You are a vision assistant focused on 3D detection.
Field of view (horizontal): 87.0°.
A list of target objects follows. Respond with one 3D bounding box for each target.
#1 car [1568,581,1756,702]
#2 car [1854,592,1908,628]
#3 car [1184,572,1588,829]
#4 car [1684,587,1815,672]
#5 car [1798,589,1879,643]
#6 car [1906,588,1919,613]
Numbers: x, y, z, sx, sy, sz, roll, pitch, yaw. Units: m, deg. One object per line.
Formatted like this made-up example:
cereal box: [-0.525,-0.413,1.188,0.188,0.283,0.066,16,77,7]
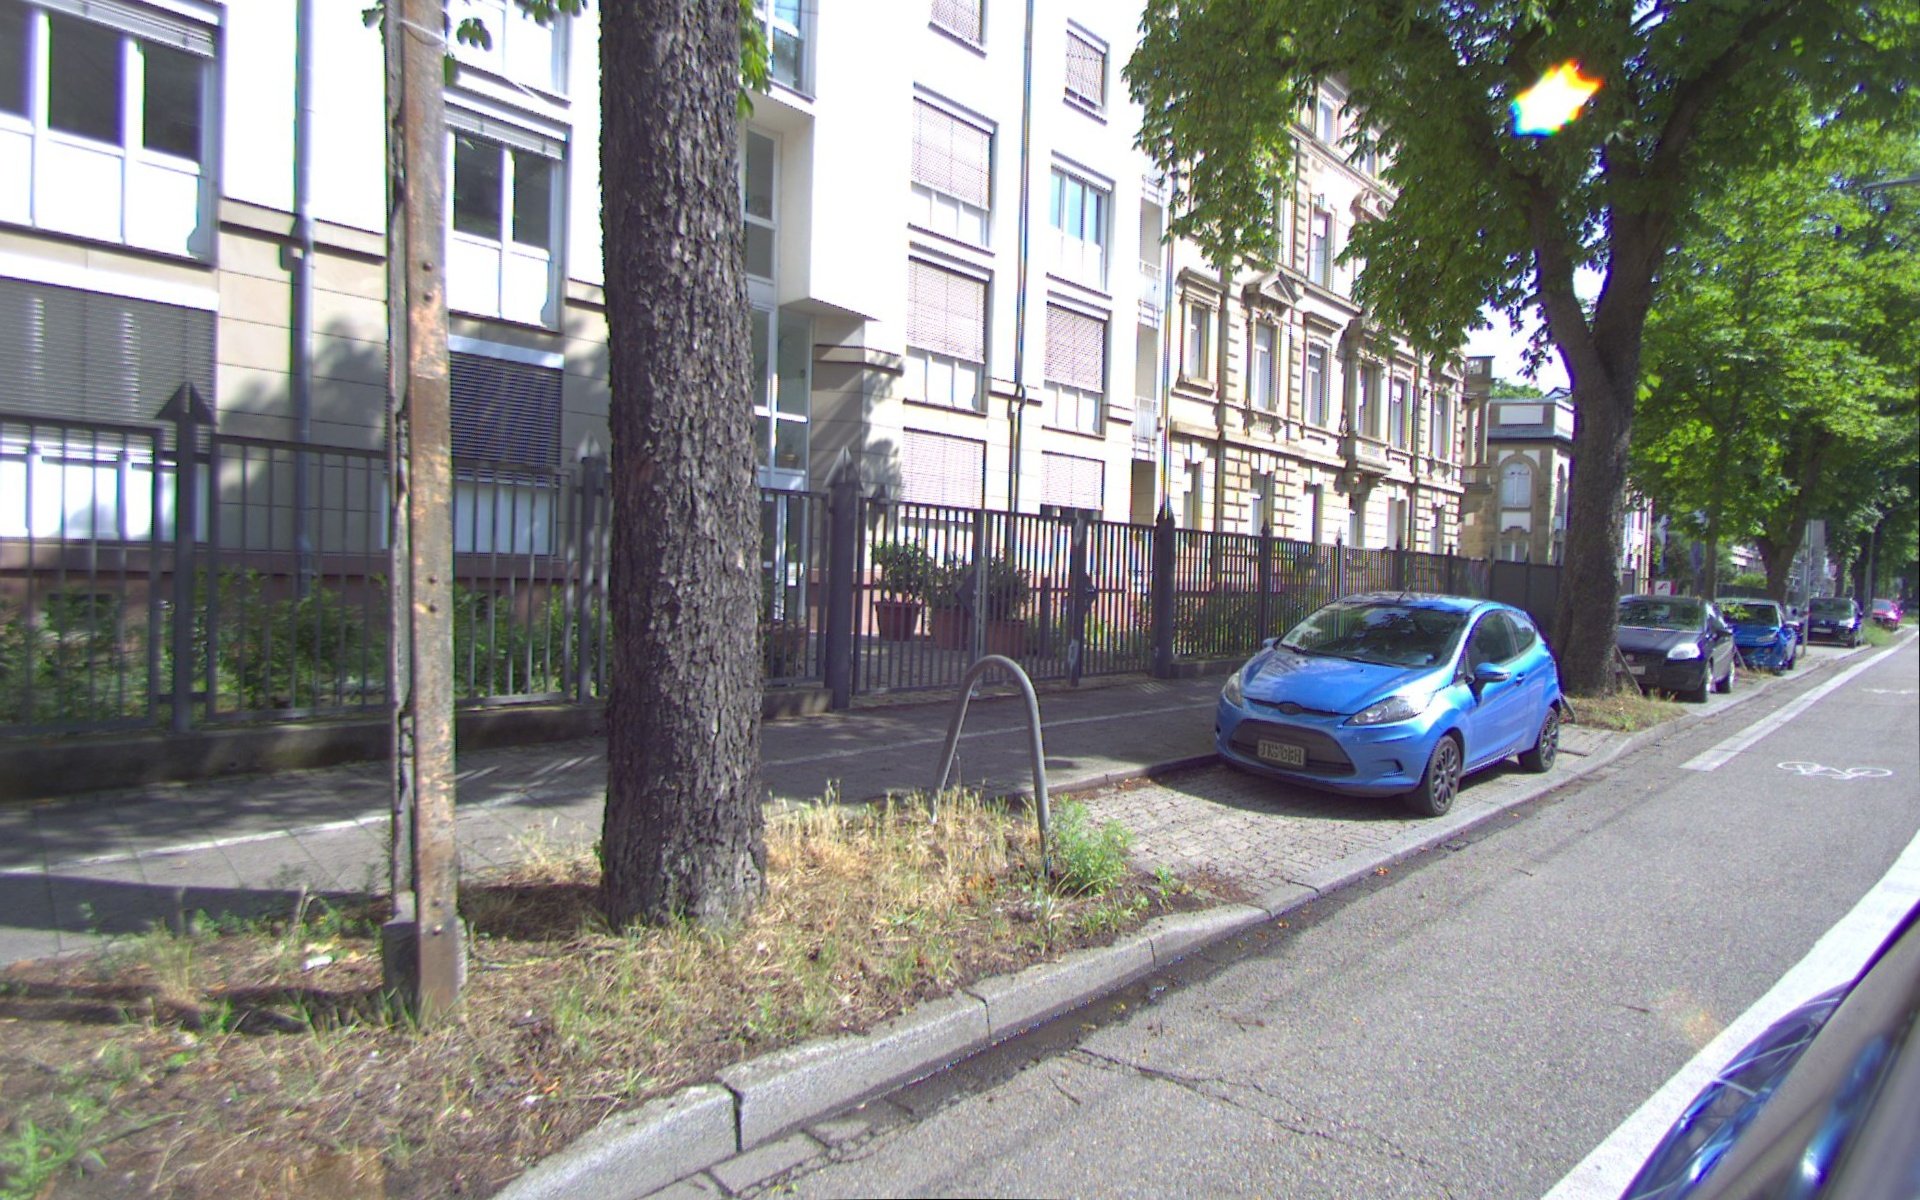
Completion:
car: [10.708,0.533,15.346,1.676,1.493,3.602,7,5,44]
car: [45.461,0.456,49.911,1.741,1.592,3.867,7,5,44]
car: [3.553,0.609,8.142,3.601,1.493,1.644,0,5,-44]
car: [16.455,0.544,21.042,1.676,1.493,3.602,7,5,44]
car: [29.470,0.499,33.907,1.741,1.592,3.602,7,5,44]
car: [63.309,0.064,66.351,1.741,1.592,3.867,7,5,44]
